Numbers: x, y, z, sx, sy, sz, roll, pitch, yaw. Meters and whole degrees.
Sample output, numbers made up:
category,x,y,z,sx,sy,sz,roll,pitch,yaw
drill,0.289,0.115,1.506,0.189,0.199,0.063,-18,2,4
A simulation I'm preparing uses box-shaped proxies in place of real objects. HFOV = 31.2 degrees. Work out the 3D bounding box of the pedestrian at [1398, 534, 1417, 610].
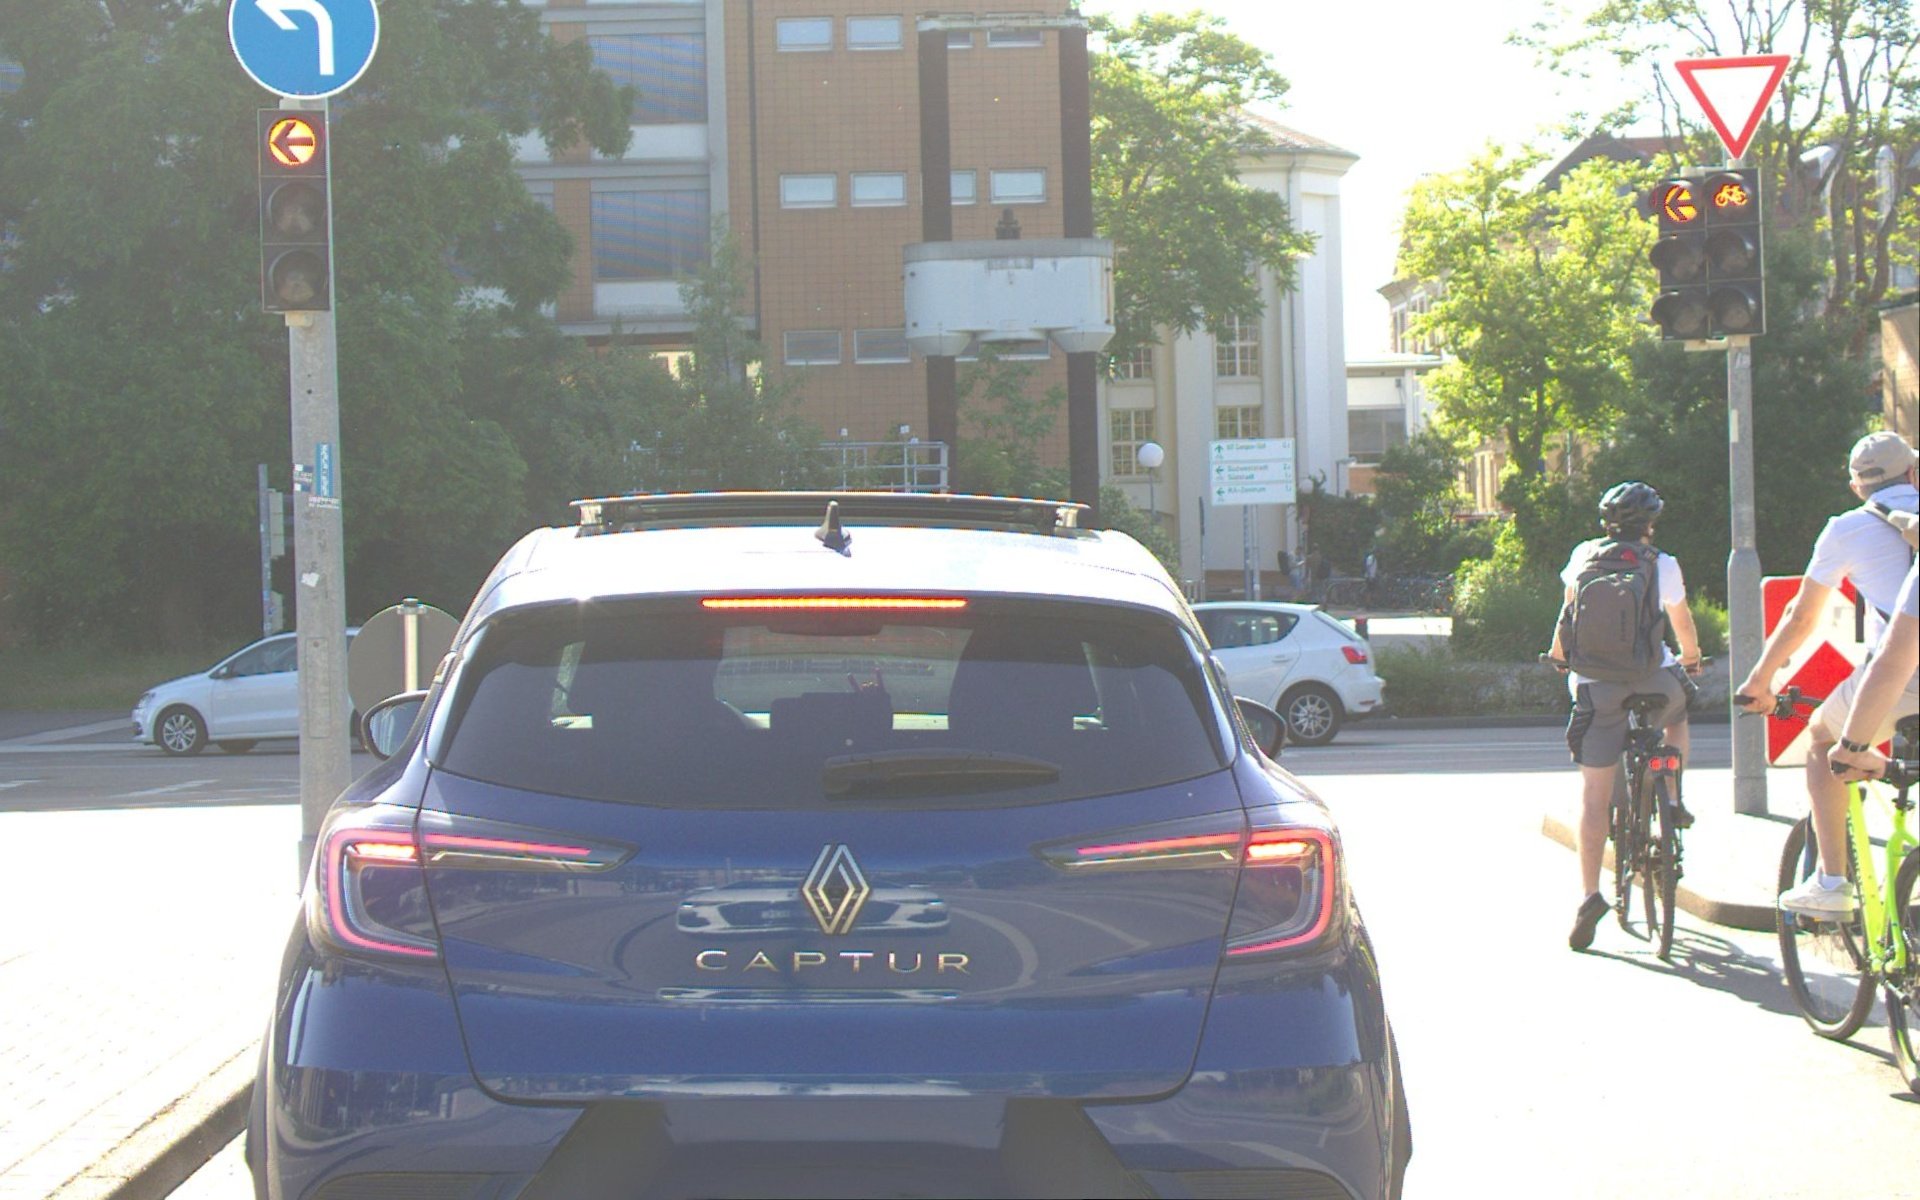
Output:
category,x,y,z,sx,sy,sz,roll,pitch,yaw
pedestrian,12.024,-0.753,92.392,0.475,2.007,0.468,-1,1,6

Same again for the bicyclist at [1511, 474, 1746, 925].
category,x,y,z,sx,sy,sz,roll,pitch,yaw
bicyclist,2.499,0.355,12.943,0.726,1.623,0.969,1,0,4

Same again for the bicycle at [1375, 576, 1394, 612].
category,x,y,z,sx,sy,sz,roll,pitch,yaw
bicycle,11.599,-0.172,94.035,0.405,0.969,1.683,1,1,4

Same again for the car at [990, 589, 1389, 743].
category,x,y,z,sx,sy,sz,roll,pitch,yaw
car,2.308,0.639,34.178,3.837,1.430,1.742,-1,0,7

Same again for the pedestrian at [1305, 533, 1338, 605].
category,x,y,z,sx,sy,sz,roll,pitch,yaw
pedestrian,9.290,-0.800,88.350,0.623,1.849,0.563,-1,1,-26

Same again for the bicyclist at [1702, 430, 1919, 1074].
category,x,y,z,sx,sy,sz,roll,pitch,yaw
bicyclist,2.614,0.407,9.807,0.645,1.733,1.067,1,0,-6

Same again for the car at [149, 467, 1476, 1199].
category,x,y,z,sx,sy,sz,roll,pitch,yaw
car,-0.277,0.614,6.694,1.803,1.626,4.000,0,1,-2

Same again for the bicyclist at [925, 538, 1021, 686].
category,x,y,z,sx,sy,sz,roll,pitch,yaw
bicyclist,0.171,0.149,44.044,1.102,1.861,0.652,-1,0,10

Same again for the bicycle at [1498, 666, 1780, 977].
category,x,y,z,sx,sy,sz,roll,pitch,yaw
bicycle,2.502,0.782,12.899,0.739,0.992,2.173,1,1,3

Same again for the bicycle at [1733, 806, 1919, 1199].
category,x,y,z,sx,sy,sz,roll,pitch,yaw
bicycle,2.219,0.955,7.254,0.740,0.893,1.978,1,1,1

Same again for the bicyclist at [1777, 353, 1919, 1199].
category,x,y,z,sx,sy,sz,roll,pitch,yaw
bicyclist,2.224,0.347,7.242,0.751,1.663,1.016,1,0,1

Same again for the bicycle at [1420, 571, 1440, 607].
category,x,y,z,sx,sy,sz,roll,pitch,yaw
bicycle,12.903,-0.301,94.414,0.405,0.969,1.683,1,1,4

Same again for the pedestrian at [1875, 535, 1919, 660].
category,x,y,z,sx,sy,sz,roll,pitch,yaw
pedestrian,12.257,-0.035,44.530,0.737,1.598,0.598,-1,1,12

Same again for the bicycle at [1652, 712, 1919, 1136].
category,x,y,z,sx,sy,sz,roll,pitch,yaw
bicycle,2.603,0.866,9.819,0.659,0.999,1.970,1,1,-6

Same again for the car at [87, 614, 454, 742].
category,x,y,z,sx,sy,sz,roll,pitch,yaw
car,-8.085,0.916,40.421,3.838,1.430,1.742,-1,-1,13

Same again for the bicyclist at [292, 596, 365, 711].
category,x,y,z,sx,sy,sz,roll,pitch,yaw
bicyclist,-8.044,0.673,43.784,0.737,1.436,0.598,-2,1,-27

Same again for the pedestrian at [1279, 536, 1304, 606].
category,x,y,z,sx,sy,sz,roll,pitch,yaw
pedestrian,8.851,-0.783,91.755,0.613,1.849,0.467,-1,1,6

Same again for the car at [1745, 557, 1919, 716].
category,x,y,z,sx,sy,sz,roll,pitch,yaw
car,10.860,0.348,36.388,4.825,1.626,1.843,-1,0,9

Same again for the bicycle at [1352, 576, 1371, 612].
category,x,y,z,sx,sy,sz,roll,pitch,yaw
bicycle,10.977,-0.181,94.078,0.405,0.969,1.683,1,1,4

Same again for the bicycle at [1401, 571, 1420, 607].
category,x,y,z,sx,sy,sz,roll,pitch,yaw
bicycle,12.367,-0.308,94.401,0.405,0.969,1.683,1,1,4
